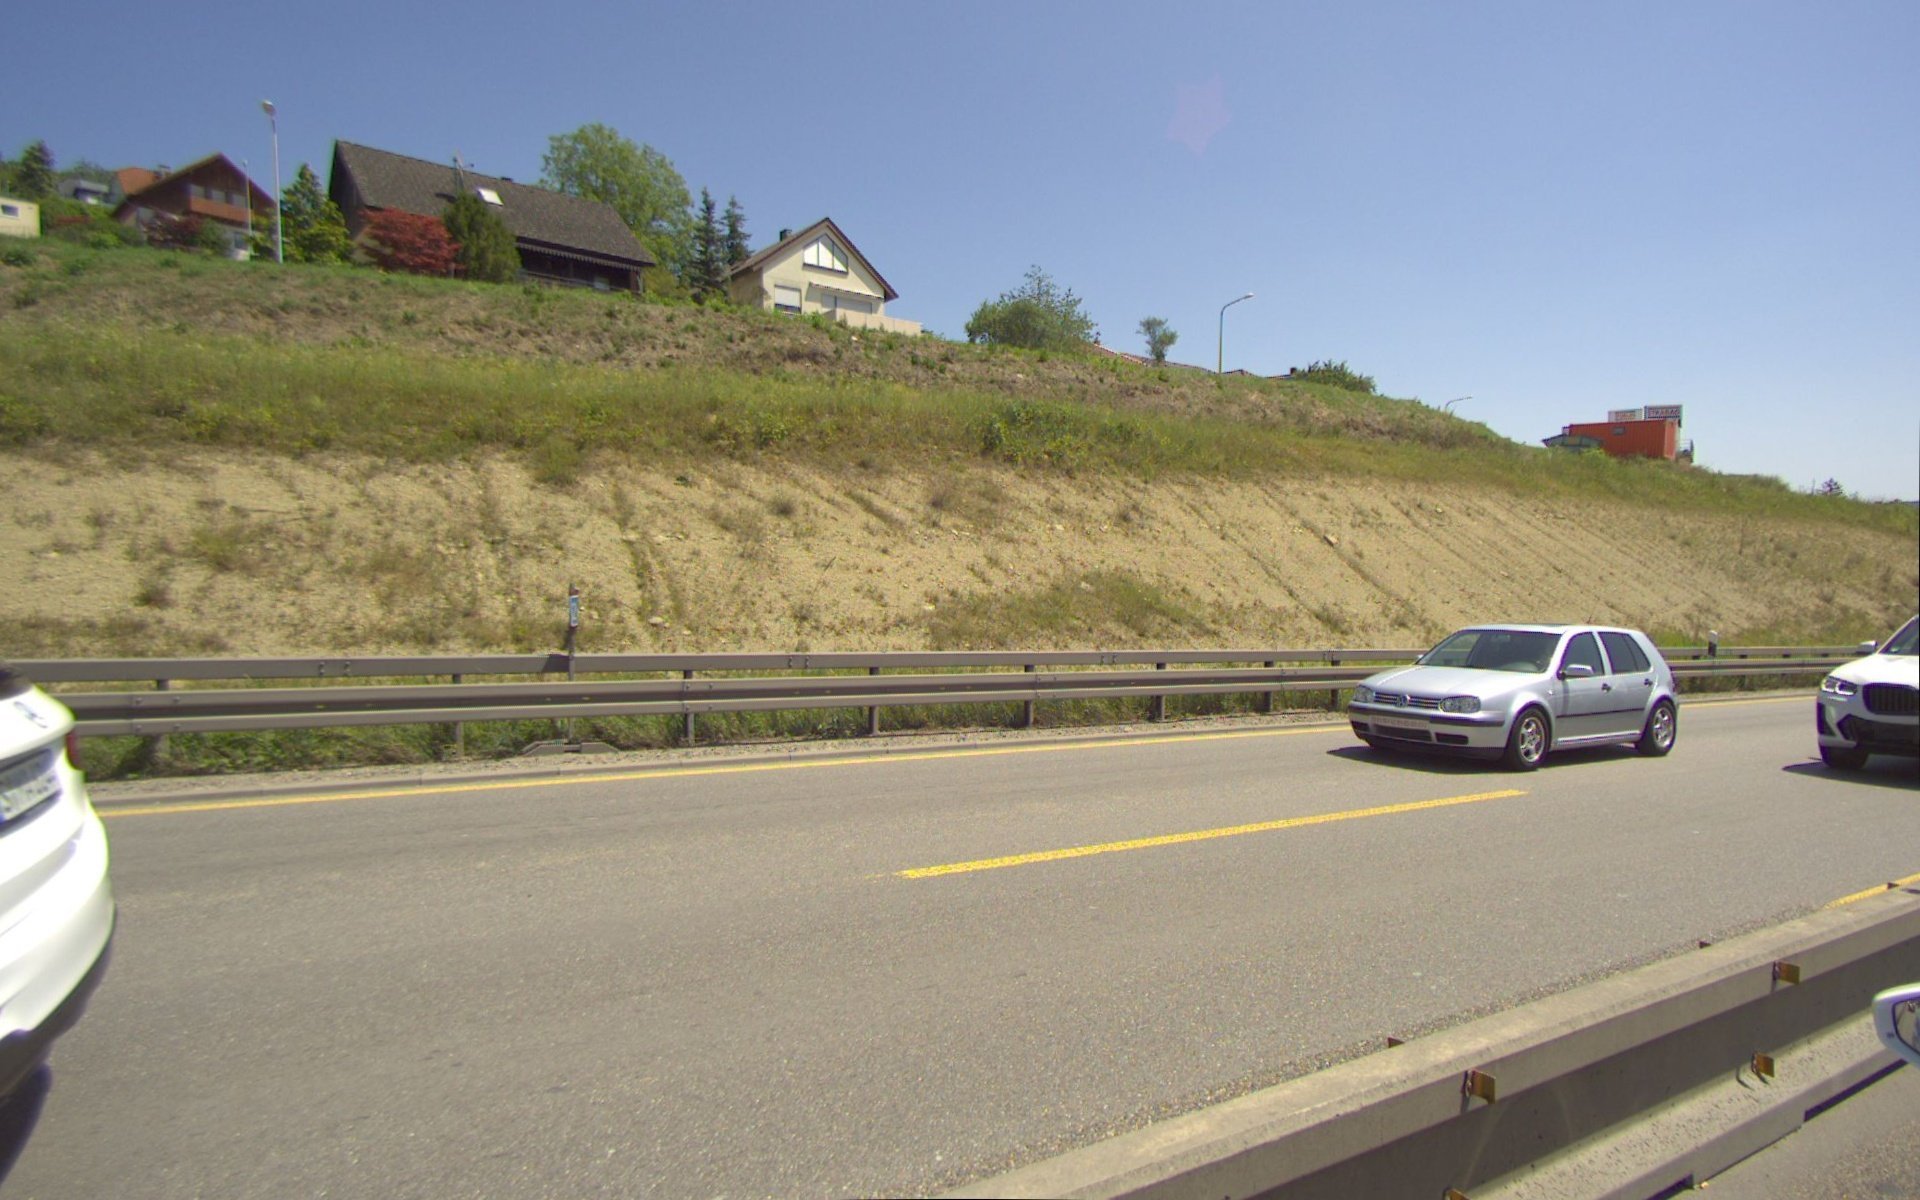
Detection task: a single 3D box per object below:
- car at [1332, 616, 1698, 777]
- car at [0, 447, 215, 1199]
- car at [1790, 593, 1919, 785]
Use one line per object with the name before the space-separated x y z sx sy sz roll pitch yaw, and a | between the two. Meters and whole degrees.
car | 5.997 0.914 10.761 3.921 1.397 1.693 1 0 -31
car | -3.858 0.527 1.412 4.312 1.659 1.803 1 0 -31
car | 10.591 0.847 10.244 4.509 1.731 1.881 1 0 -31
